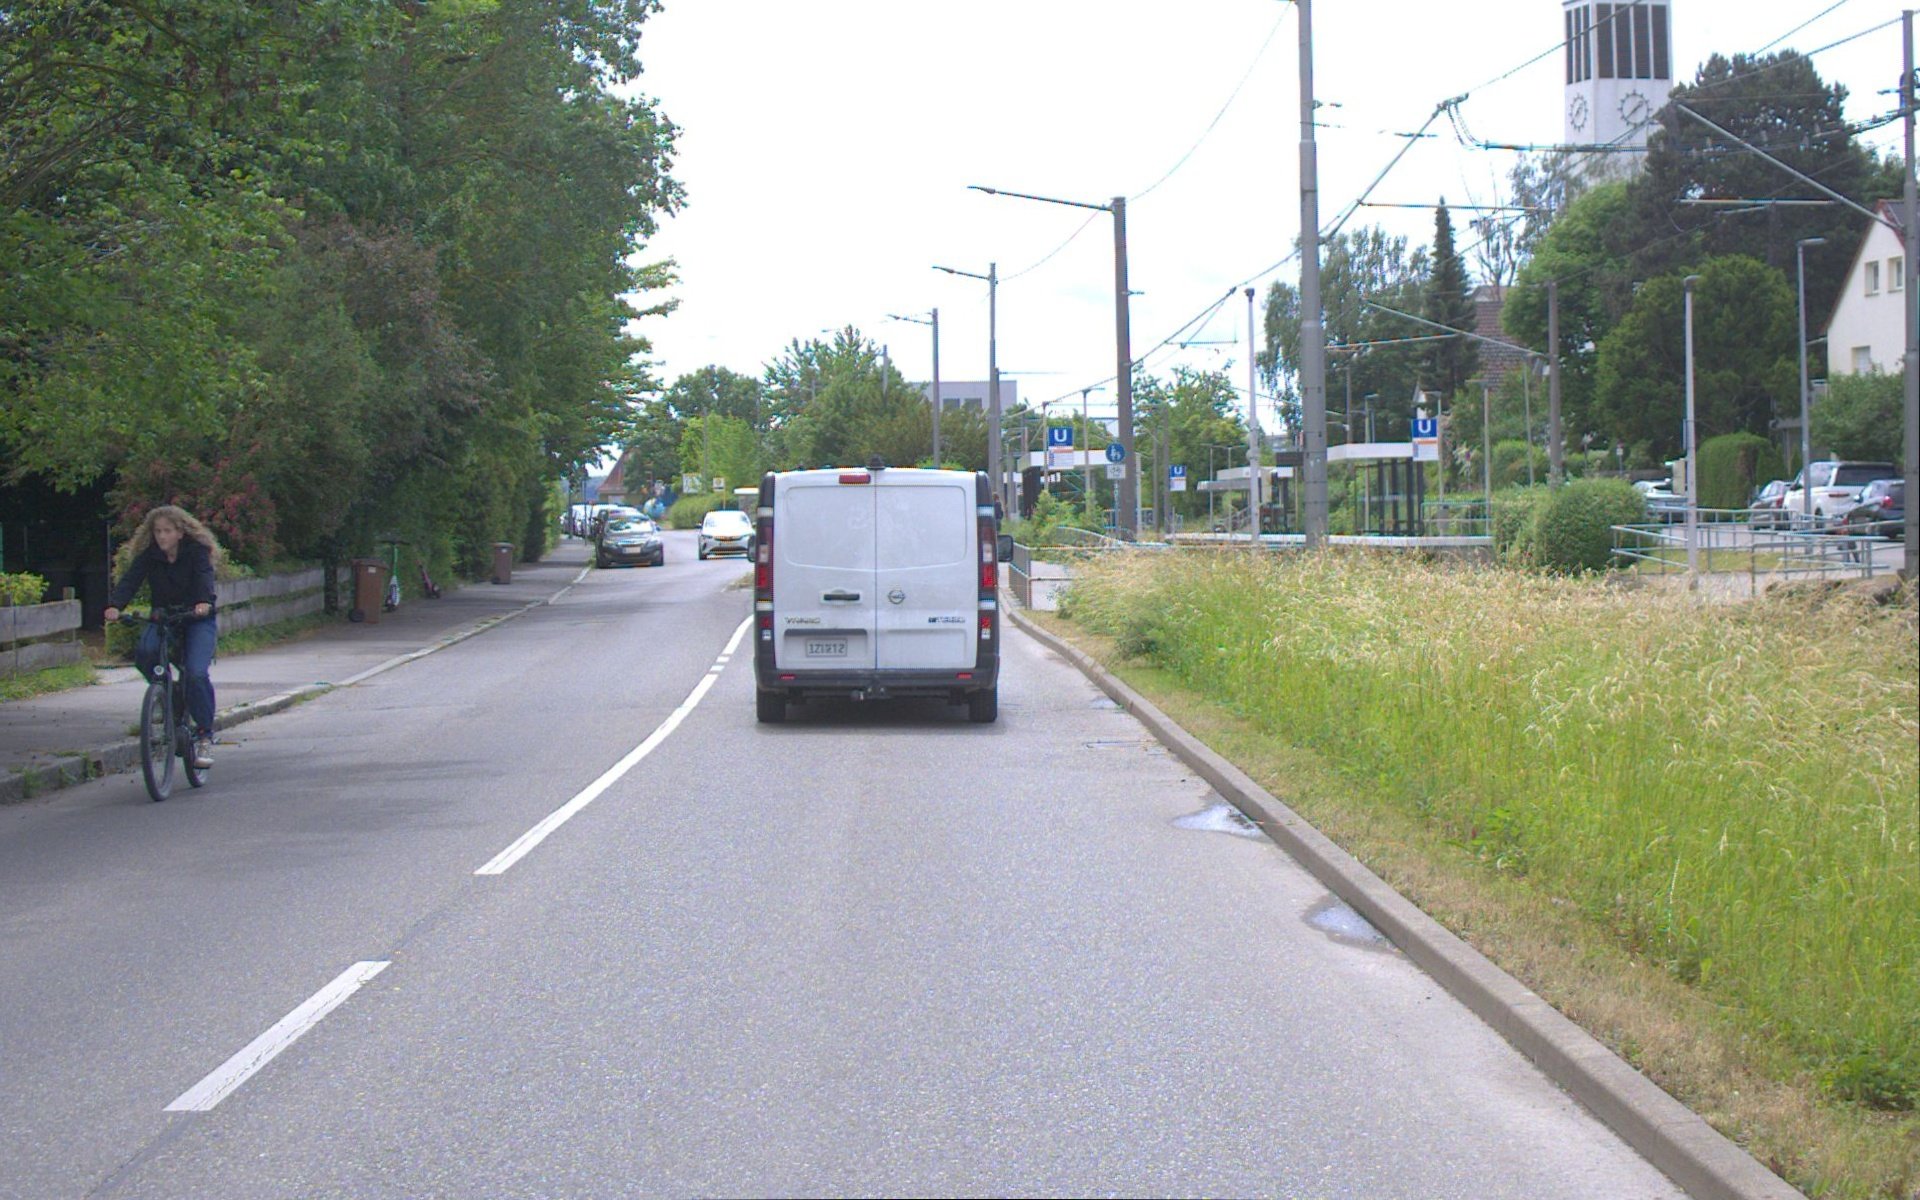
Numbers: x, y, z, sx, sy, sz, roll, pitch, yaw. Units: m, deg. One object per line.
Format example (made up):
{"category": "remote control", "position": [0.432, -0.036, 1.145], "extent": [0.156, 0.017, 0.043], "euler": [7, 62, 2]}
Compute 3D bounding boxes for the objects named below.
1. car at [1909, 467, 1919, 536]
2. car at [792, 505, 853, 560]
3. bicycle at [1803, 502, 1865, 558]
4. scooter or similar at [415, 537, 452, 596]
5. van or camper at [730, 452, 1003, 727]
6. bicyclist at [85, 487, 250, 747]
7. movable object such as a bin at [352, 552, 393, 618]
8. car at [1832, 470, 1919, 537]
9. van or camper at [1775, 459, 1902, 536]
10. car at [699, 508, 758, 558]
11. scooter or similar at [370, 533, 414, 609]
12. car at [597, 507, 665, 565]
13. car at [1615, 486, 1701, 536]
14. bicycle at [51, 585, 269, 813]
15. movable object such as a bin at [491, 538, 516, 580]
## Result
{"category": "car", "position": [22.122, -2.164, 74.747], "extent": [1.883, 1.517, 4.000], "euler": [-1, 1, 0]}
{"category": "car", "position": [-4.341, -2.137, 108.124], "extent": [1.852, 1.642, 3.735], "euler": [-1, 2, -3]}
{"category": "bicycle", "position": [16.559, -1.336, 65.201], "extent": [0.538, 1.042, 2.540], "euler": [-1, 1, 0]}
{"category": "scooter or similar", "position": [-9.808, -0.627, 64.005], "extent": [0.477, 1.077, 1.214], "euler": [0, 1, -19]}
{"category": "van or camper", "position": [-0.695, -0.119, 27.539], "extent": [1.993, 2.007, 4.446], "euler": [0, 1, 0]}
{"category": "bicyclist", "position": [-4.845, 0.091, 21.062], "extent": [0.778, 1.544, 0.870], "euler": [-1, 1, -1]}
{"category": "movable object such as a bin", "position": [-8.590, -0.223, 50.295], "extent": [0.513, 0.941, 0.568], "euler": [0, 1, -1]}
{"category": "car", "position": [21.940, -2.263, 80.826], "extent": [1.883, 1.517, 4.000], "euler": [-1, 1, 0]}
{"category": "van or camper", "position": [21.883, -2.553, 85.812], "extent": [1.905, 1.819, 5.048], "euler": [-1, 1, 0]}
{"category": "car", "position": [-7.062, -2.051, 104.561], "extent": [1.693, 1.425, 3.787], "euler": [-3, 2, -4]}
{"category": "scooter or similar", "position": [-9.206, -0.472, 55.771], "extent": [0.408, 1.195, 1.639], "euler": [-1, 1, 0]}
{"category": "car", "position": [-9.305, -1.828, 97.058], "extent": [1.736, 1.499, 4.479], "euler": [-3, 2, -7]}
{"category": "car", "position": [21.791, -2.791, 107.493], "extent": [1.883, 1.517, 4.000], "euler": [-1, 1, 0]}
{"category": "bicycle", "position": [-4.827, 0.565, 20.907], "extent": [0.755, 1.222, 2.308], "euler": [-3, 2, -1]}
{"category": "movable object such as a bin", "position": [-10.302, -0.916, 77.602], "extent": [0.462, 0.927, 0.430], "euler": [2, 0, -18]}
